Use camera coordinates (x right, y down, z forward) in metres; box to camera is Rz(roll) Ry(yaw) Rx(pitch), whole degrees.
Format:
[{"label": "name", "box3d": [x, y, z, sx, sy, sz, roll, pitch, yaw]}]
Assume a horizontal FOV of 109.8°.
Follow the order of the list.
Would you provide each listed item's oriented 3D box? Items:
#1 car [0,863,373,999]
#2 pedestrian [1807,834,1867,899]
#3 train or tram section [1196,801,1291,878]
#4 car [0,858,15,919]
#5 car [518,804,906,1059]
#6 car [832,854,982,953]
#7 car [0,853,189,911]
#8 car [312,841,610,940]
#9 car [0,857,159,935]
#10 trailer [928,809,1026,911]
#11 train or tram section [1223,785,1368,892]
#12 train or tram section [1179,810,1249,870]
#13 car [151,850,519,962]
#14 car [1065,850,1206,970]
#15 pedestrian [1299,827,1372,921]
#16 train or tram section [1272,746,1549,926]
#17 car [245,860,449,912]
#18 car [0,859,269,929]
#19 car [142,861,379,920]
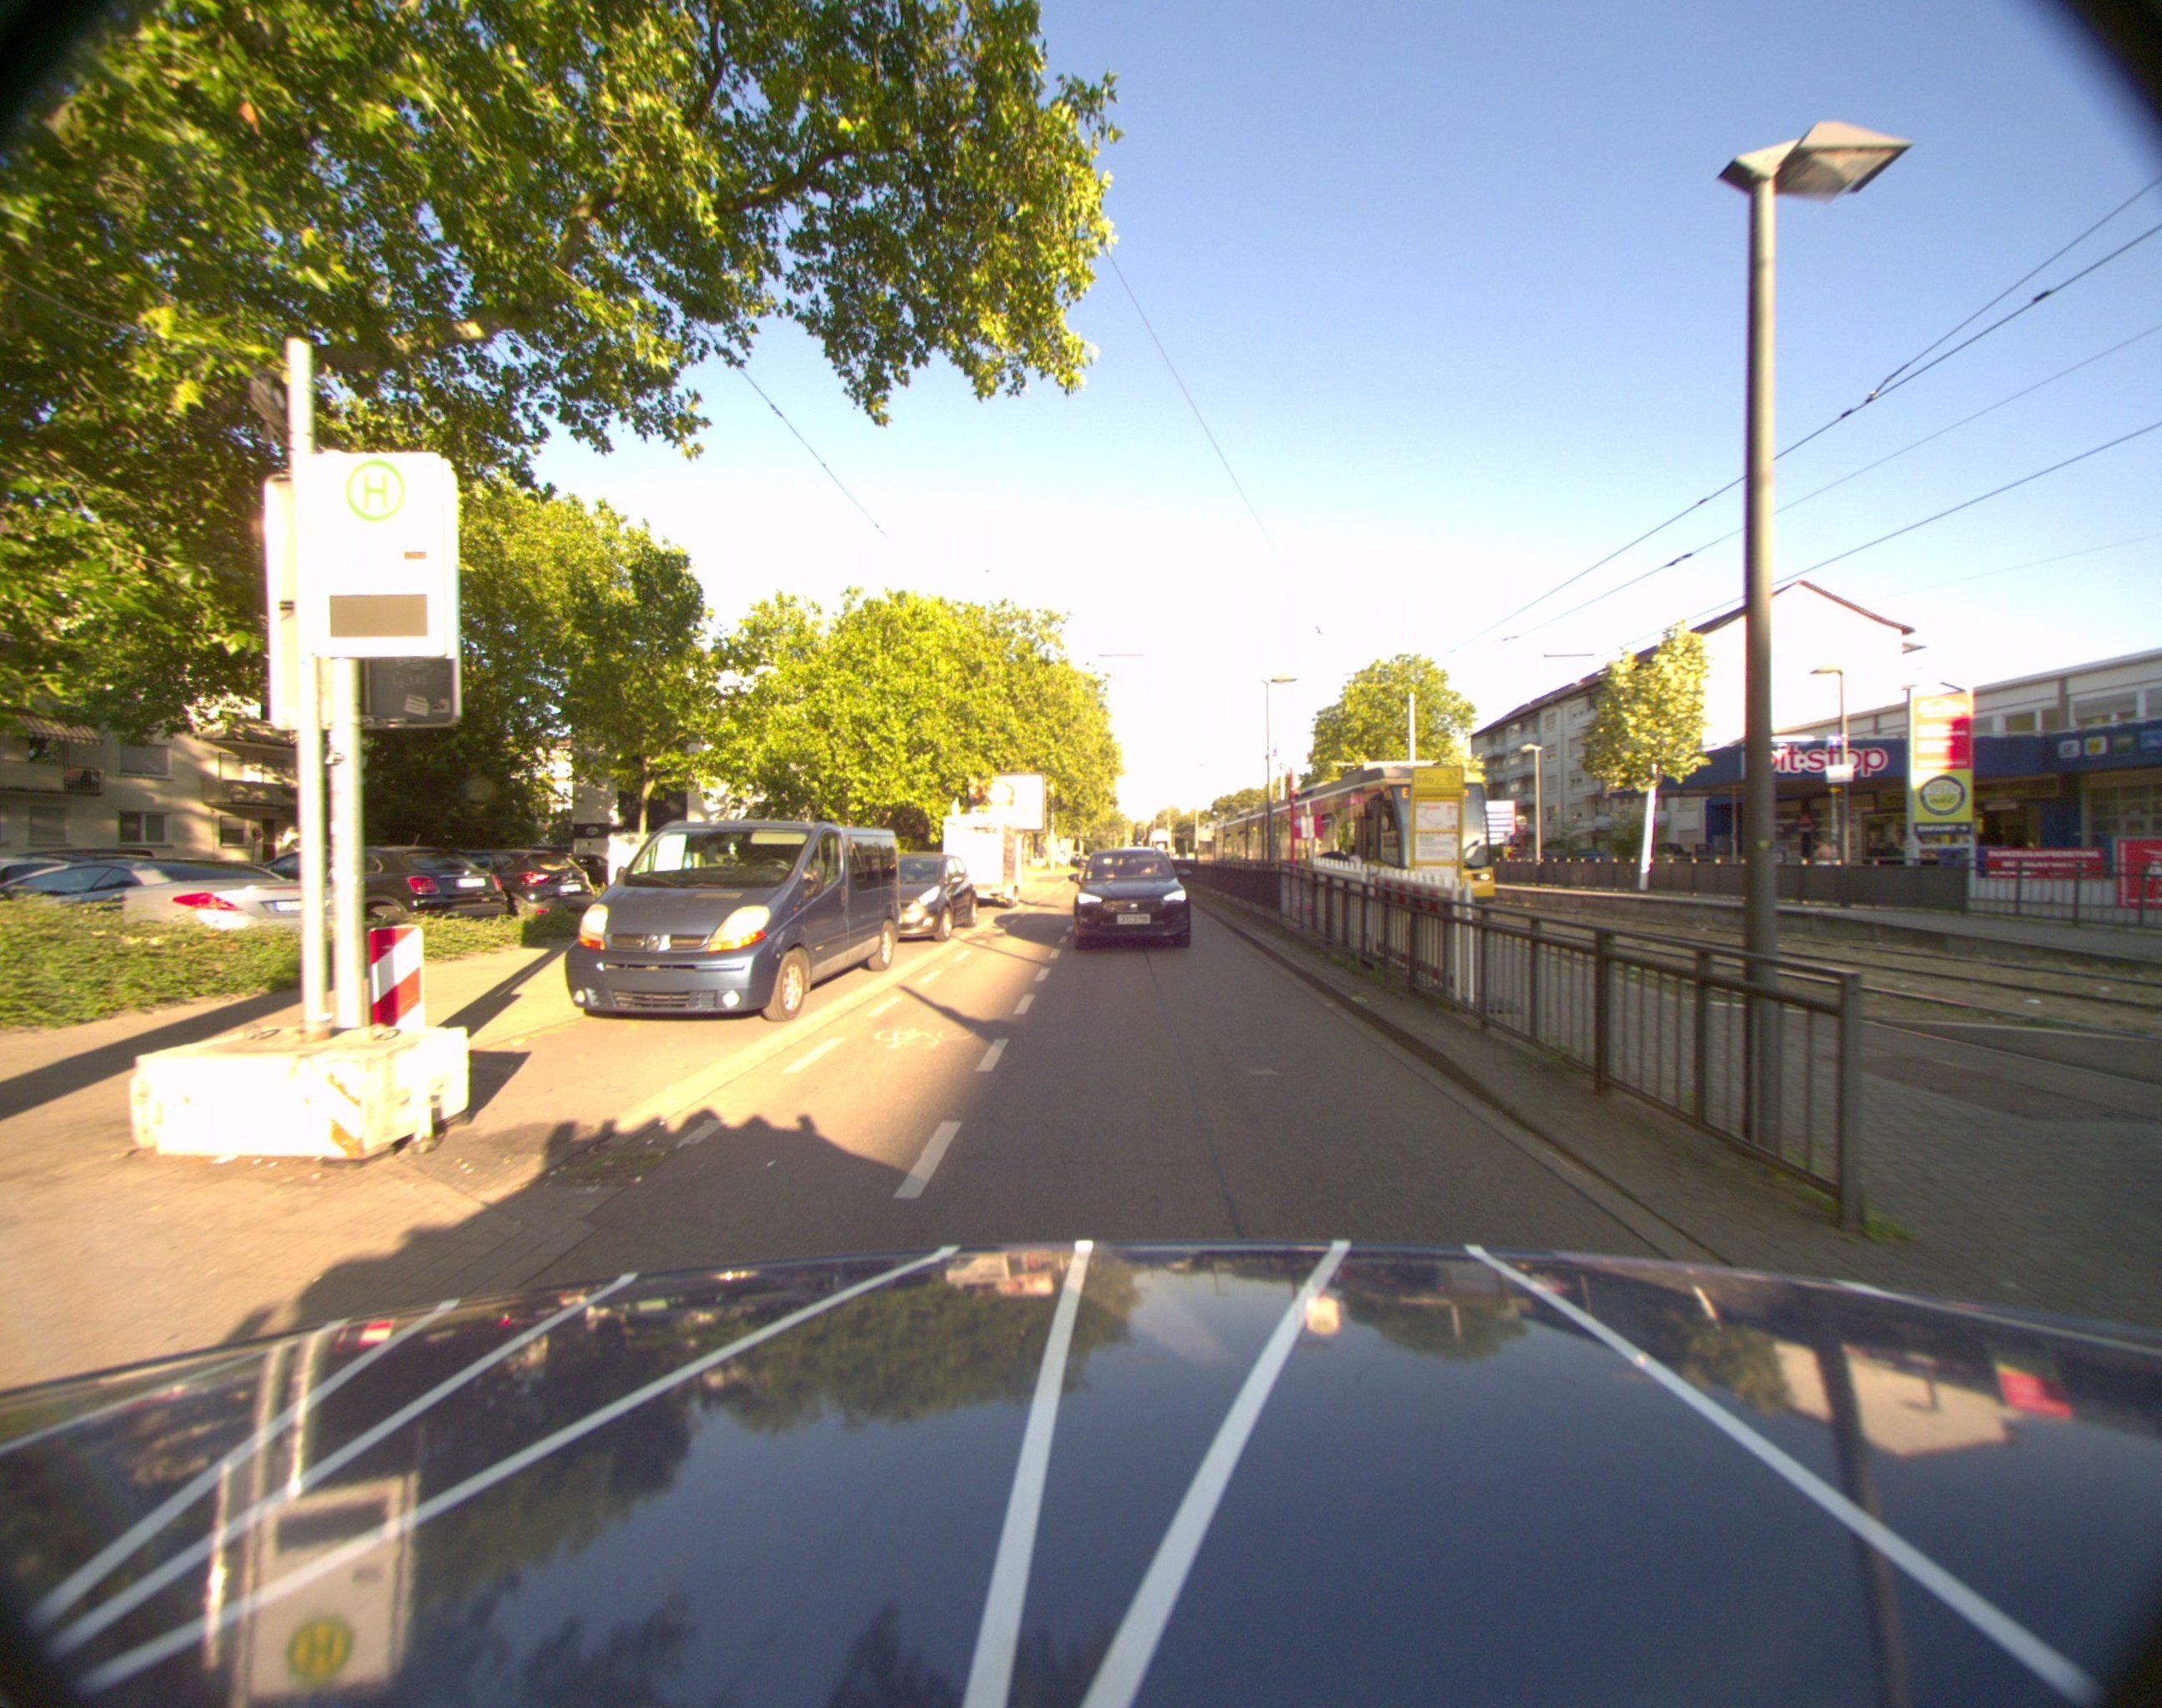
[{"label": "car", "box3d": [-11.651, 0.874, 9.453, 4.121, 1.486, 1.803, 0, 0, 4]}, {"label": "pedestrian", "box3d": [22.634, 0.355, 22.769, 0.755, 1.871, 1.000, -3, 1, 2]}, {"label": "train or tram section", "box3d": [8.248, -0.735, 40.081, 3.042, 3.497, 10.096, 1, 1, 1]}, {"label": "car", "box3d": [-28.336, 0.859, 17.622, 4.292, 1.487, 2.000, -1, 0, -1]}, {"label": "car", "box3d": [-3.529, 0.624, 8.453, 1.889, 2.066, 4.563, -1, 0, 3]}, {"label": "car", "box3d": [-3.188, 0.839, 14.778, 1.800, 1.621, 4.001, -1, 0, 3]}, {"label": "car", "box3d": [-27.588, 0.718, 20.626, 4.292, 1.487, 2.000, 0, 0, -1]}, {"label": "car", "box3d": [-11.438, 0.643, 14.192, 4.121, 1.541, 1.803, -3, 0, 4]}, {"label": "car", "box3d": [-22.397, 0.841, 15.648, 4.292, 1.487, 2.000, -1, 0, -1]}, {"label": "trailer", "box3d": [-2.818, 0.150, 21.619, 1.889, 2.573, 4.651, -1, 0, 3]}, {"label": "train or tram section", "box3d": [7.976, -0.582, 29.988, 3.042, 3.497, 10.096, 1, 1, 1]}, {"label": "train or tram section", "box3d": [8.548, -0.902, 50.169, 3.042, 3.497, 10.096, 1, 1, 1]}, {"label": "car", "box3d": [-11.482, 0.750, 11.885, 4.121, 1.590, 1.803, 0, 0, 4]}, {"label": "car", "box3d": [0.751, 0.782, 12.753, 1.910, 1.606, 4.085, -3, 0, -1]}, {"label": "pedestrian", "box3d": [4.390, 0.335, 13.139, 0.918, 1.541, 0.789, -2, 1, -6]}, {"label": "train or tram section", "box3d": [7.689, -0.424, 19.890, 3.042, 3.497, 10.096, 1, 1, 1]}, {"label": "car", "box3d": [-22.518, 0.963, 23.452, 4.292, 1.487, 2.000, 0, 0, -1]}, {"label": "car", "box3d": [-22.481, 0.898, 17.995, 4.292, 1.526, 2.000, 0, 0, -1]}, {"label": "car", "box3d": [-22.488, 0.977, 20.985, 4.292, 1.487, 2.000, -1, 0, -1]}]
